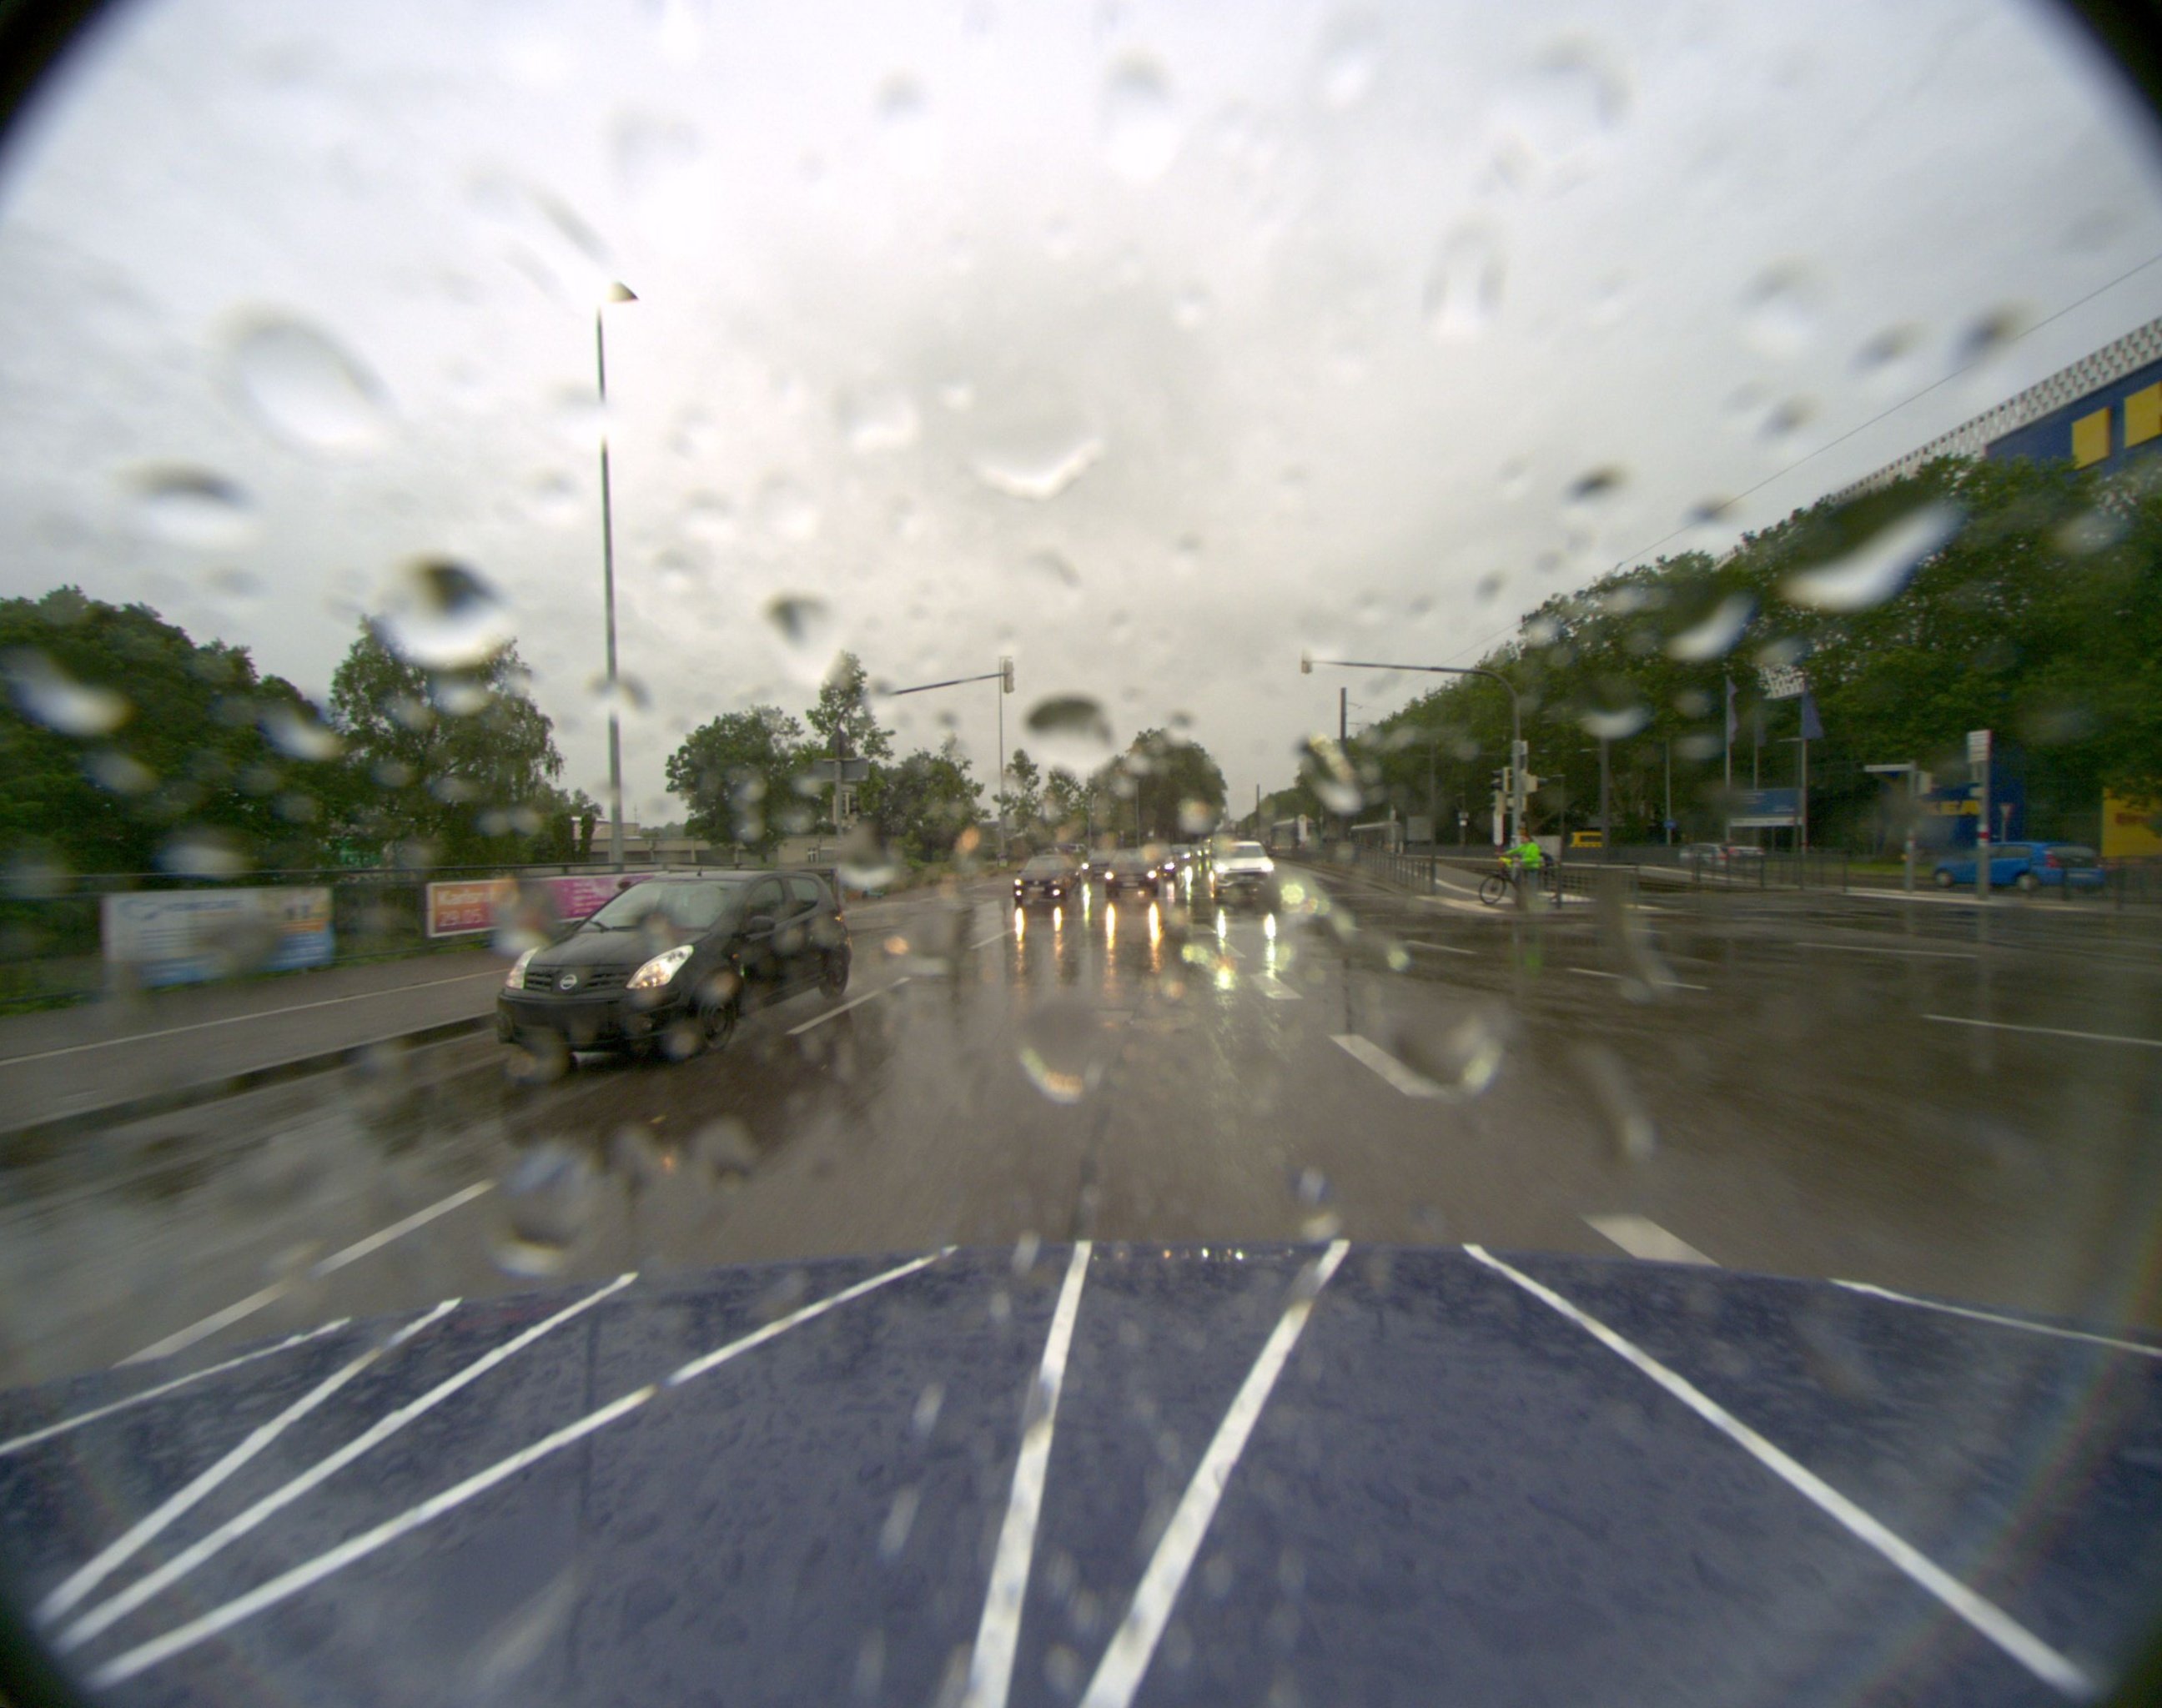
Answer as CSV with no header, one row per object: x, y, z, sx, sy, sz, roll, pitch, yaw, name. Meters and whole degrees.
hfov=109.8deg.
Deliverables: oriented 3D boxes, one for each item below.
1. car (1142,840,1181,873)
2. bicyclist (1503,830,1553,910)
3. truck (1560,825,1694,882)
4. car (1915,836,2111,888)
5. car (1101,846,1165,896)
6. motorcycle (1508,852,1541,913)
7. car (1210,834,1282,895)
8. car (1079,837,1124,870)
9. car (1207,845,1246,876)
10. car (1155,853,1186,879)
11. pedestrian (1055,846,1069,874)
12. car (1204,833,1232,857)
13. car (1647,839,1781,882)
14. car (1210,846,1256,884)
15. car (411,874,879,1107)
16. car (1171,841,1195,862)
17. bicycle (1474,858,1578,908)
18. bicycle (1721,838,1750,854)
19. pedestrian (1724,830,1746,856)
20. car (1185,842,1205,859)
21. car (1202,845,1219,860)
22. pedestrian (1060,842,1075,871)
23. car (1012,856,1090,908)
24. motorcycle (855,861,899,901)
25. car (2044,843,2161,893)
4.106,0.126,38.404,1.714,1.515,4.046,-3,0,9,car
10.074,0.355,17.150,0.618,1.721,0.793,-3,0,7,bicyclist
32.281,-0.182,45.485,2.745,2.833,9.095,-3,3,10,truck
28.005,0.229,23.047,1.584,1.406,3.918,-3,0,11,car
1.894,0.559,26.629,1.875,1.573,4.045,-3,0,8,car
9.428,0.590,16.165,0.527,1.214,1.404,-3,0,30,motorcycle
5.399,0.283,25.354,1.992,1.778,4.556,-3,0,9,car
1.093,-0.016,38.625,1.714,1.515,4.046,-3,0,9,car
7.567,0.310,39.779,1.751,1.466,4.699,-3,0,9,car
5.751,0.726,48.503,1.714,1.515,4.046,-3,0,9,car
-1.128,0.356,45.557,0.733,1.602,0.576,0,2,9,pedestrian
9.416,-0.586,52.432,1.714,1.515,4.046,-3,0,9,car
26.763,0.255,32.422,1.997,1.558,5.367,-3,-1,11,car
6.368,0.432,32.234,1.714,1.405,4.700,-3,0,10,car
-3.544,1.001,7.233,1.775,1.453,4.094,-3,0,5,car
8.050,-0.177,59.499,1.714,1.515,4.046,-3,0,9,car
10.056,0.649,17.222,1.869,1.002,0.670,-3,0,7,bicycle
35.095,-0.436,40.749,0.573,0.852,1.176,-2,1,5,bicycle
35.091,-0.597,40.793,0.579,1.327,0.686,-2,2,5,pedestrian
10.702,-0.292,71.283,1.714,1.515,4.046,-3,0,9,car
14.371,-0.170,84.520,1.714,1.515,4.046,-3,0,9,car
-0.767,0.148,43.433,0.733,1.602,0.618,0,2,9,pedestrian
-0.883,0.834,24.636,1.714,1.476,4.046,-3,0,9,car
-6.503,0.847,24.294,0.632,1.211,1.450,0,1,21,motorcycle
35.662,0.435,24.722,2.002,1.558,5.050,-3,-1,-27,car
